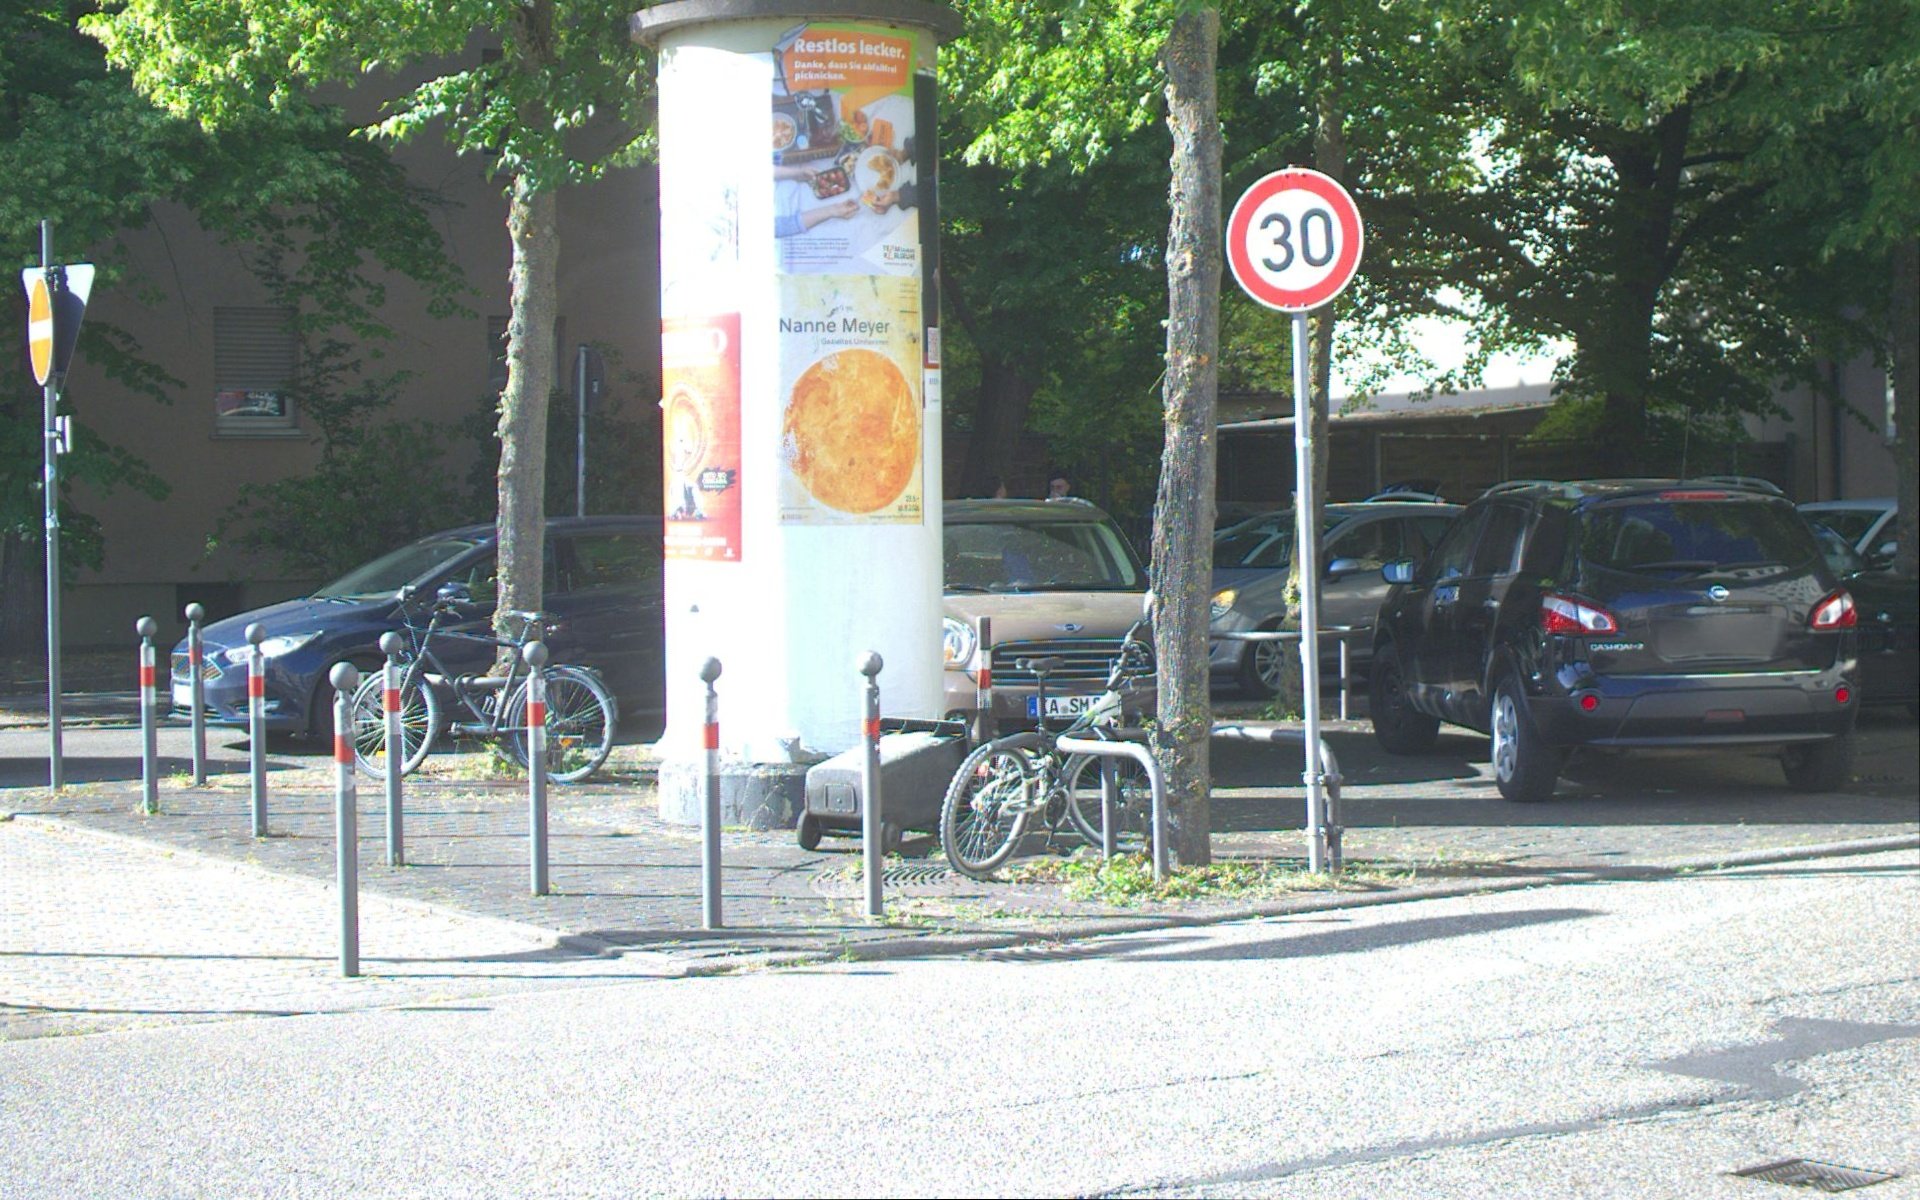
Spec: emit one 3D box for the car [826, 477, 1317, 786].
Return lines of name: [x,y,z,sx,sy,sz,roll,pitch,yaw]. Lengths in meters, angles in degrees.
car: [0.534,0.123,20.307,1.916,1.605,4.001,-1,1,-13]

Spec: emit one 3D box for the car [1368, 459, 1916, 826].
car: [3.549,0.115,18.739,1.831,1.665,4.338,-1,3,-4]

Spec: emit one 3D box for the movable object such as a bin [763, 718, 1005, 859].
movable object such as a bin: [-0.347,0.871,16.139,0.577,0.563,1.111,0,2,35]

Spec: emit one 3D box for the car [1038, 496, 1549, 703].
car: [2.666,-0.055,27.012,3.938,1.481,1.759,-2,2,-41]

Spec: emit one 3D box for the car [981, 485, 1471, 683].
car: [2.422,-0.192,30.780,4.234,1.634,1.759,-2,2,-36]

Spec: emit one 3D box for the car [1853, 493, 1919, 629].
car: [11.886,-0.459,37.413,4.330,1.430,1.769,-2,2,-34]

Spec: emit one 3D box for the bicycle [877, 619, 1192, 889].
bicycle: [0.343,0.642,14.937,1.588,1.068,0.353,-2,2,-45]

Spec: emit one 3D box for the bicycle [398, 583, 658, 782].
bicycle: [-2.478,0.457,19.837,1.588,1.068,0.353,-2,2,-45]

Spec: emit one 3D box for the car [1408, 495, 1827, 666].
car: [6.502,-0.233,33.868,3.937,1.564,1.759,-2,2,-34]

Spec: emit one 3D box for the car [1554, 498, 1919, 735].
car: [5.491,0.039,22.855,1.815,1.417,3.950,-1,2,-10]

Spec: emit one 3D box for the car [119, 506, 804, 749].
car: [-3.421,0.127,23.859,4.287,1.513,1.909,-2,2,-34]

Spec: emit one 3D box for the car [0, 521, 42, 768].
car: [-8.354,0.307,20.938,5.020,1.513,1.924,-1,2,-28]

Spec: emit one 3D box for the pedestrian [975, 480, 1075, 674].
pedestrian: [0.588,-0.218,31.124,0.538,1.729,0.742,-2,2,-38]

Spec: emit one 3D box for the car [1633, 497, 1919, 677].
car: [7.927,-0.168,30.567,3.938,1.481,1.759,-2,2,-41]

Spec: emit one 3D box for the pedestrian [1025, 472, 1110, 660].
pedestrian: [0.993,-0.320,31.953,0.740,1.729,0.540,-1,1,-1]
